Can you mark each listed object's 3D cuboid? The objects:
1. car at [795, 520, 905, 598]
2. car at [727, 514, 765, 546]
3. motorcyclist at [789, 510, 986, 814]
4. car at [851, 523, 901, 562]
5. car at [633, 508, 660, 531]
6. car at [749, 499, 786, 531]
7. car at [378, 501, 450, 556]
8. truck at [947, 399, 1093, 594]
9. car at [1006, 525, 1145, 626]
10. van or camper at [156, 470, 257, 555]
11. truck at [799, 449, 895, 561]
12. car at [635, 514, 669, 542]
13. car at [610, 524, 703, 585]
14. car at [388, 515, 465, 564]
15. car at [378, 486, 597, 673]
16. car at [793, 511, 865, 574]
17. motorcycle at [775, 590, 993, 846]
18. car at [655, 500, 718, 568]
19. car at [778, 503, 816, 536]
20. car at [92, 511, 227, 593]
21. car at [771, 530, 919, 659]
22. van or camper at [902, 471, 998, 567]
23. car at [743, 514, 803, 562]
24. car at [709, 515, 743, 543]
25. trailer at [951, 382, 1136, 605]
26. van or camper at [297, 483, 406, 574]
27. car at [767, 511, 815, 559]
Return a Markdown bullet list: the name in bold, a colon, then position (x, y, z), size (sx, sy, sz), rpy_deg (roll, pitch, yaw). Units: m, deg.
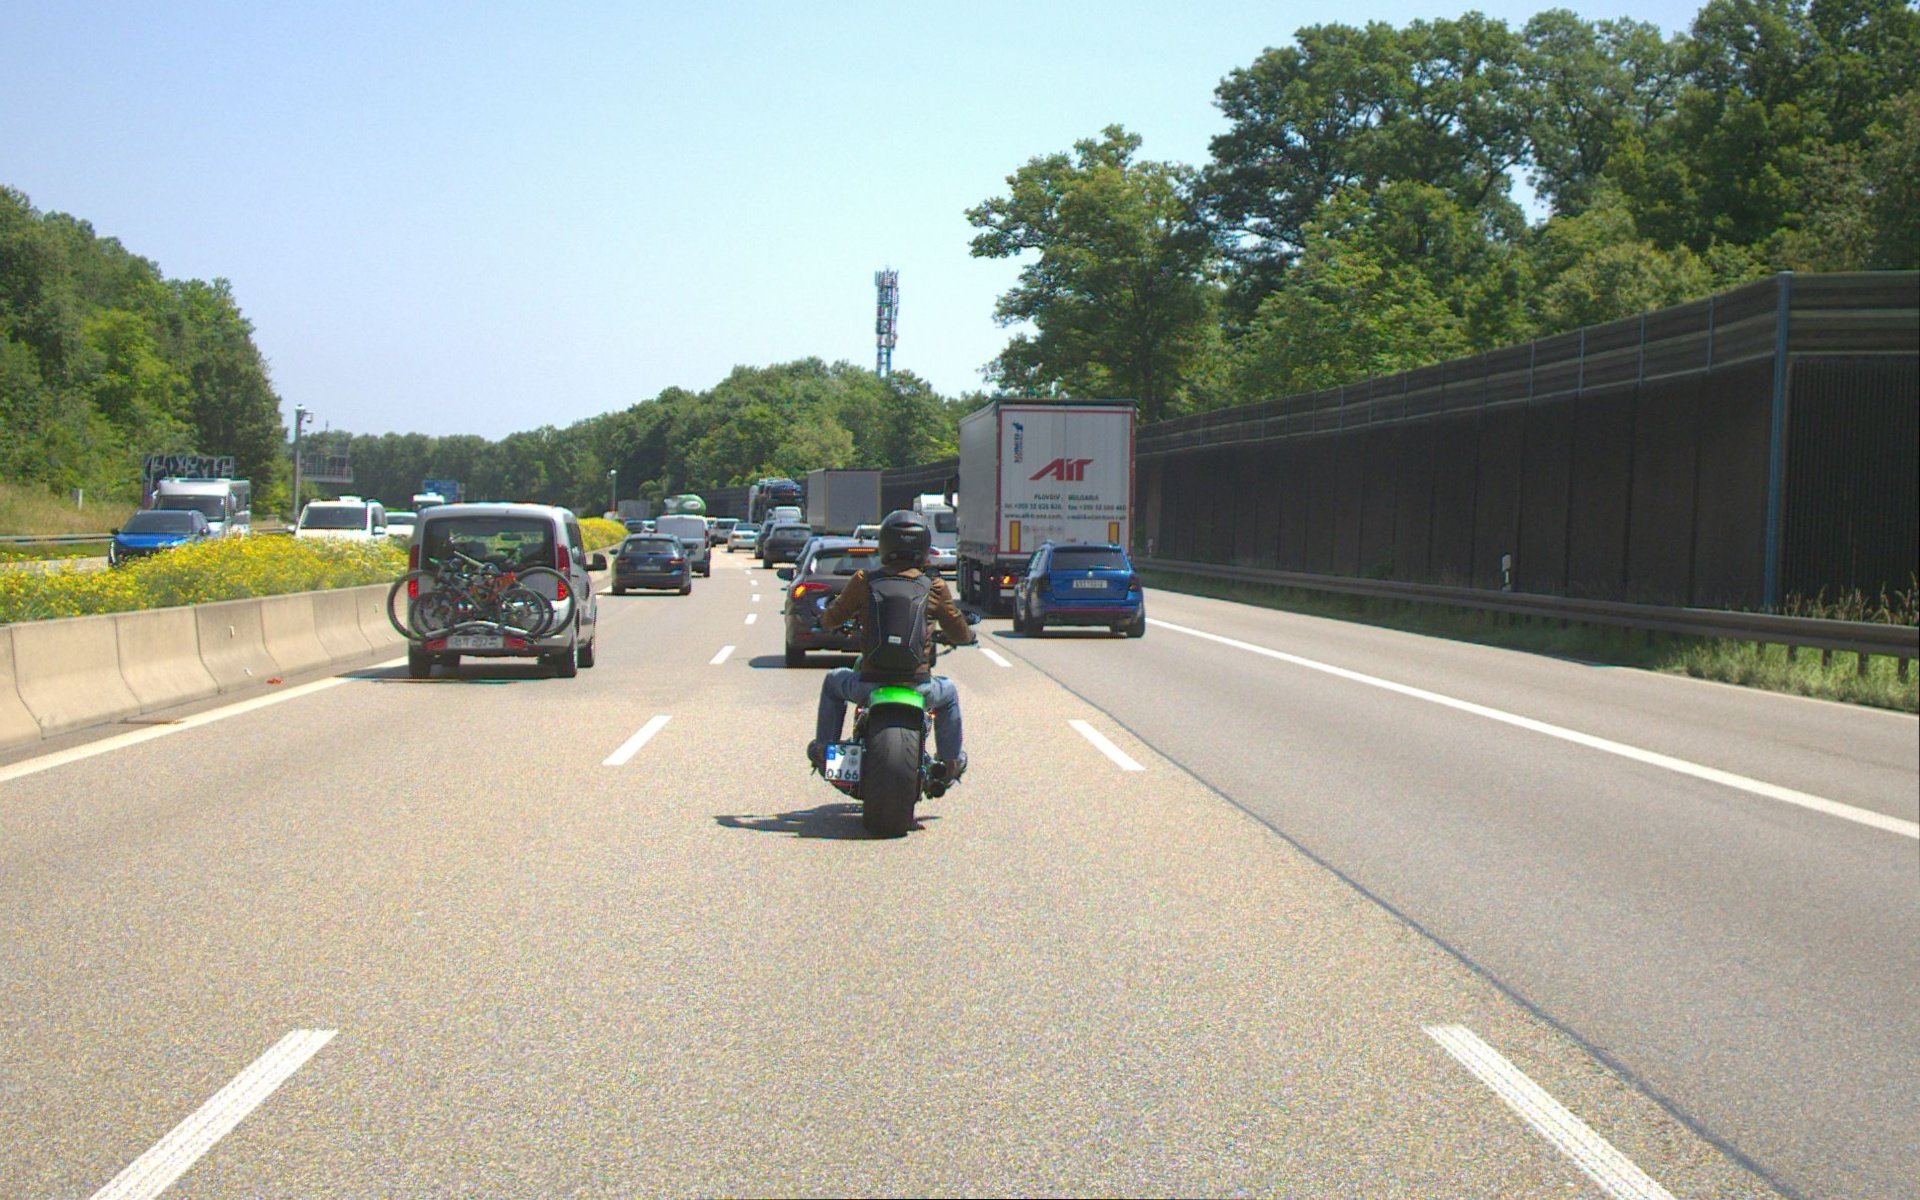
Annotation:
- **car**: position (-2.144, -0.774, 66.127), size (1.993, 1.425, 3.848), rpy_deg (1, 0, -3)
- **car**: position (-10.572, -3.458, 169.793), size (1.832, 1.491, 3.744), rpy_deg (1, 0, -3)
- **motorcyclist**: position (-0.347, 0.297, 17.655), size (0.899, 1.470, 1.872), rpy_deg (1, 0, 2)
- **car**: position (-3.558, -2.422, 145.168), size (1.993, 1.568, 4.000), rpy_deg (1, 0, -3)
- **car**: position (-22.256, -5.713, 244.038), size (1.832, 1.491, 3.744), rpy_deg (1, 0, -6)
- **car**: position (-11.834, -5.232, 211.531), size (2.107, 1.870, 4.001), rpy_deg (1, 0, -5)
- **car**: position (-20.794, -2.697, 131.068), size (1.993, 2.007, 4.568), rpy_deg (1, 0, 0)
- **truck**: position (1.262, -2.279, 76.317), size (2.885, 4.132, 5.987), rpy_deg (1, 1, -2)
- **car**: position (1.750, -0.380, 53.434), size (1.650, 1.477, 4.482), rpy_deg (1, 0, -5)
- **van or camper**: position (-23.934, -2.742, 109.404), size (2.186, 2.552, 6.933), rpy_deg (1, 0, -4)
- **truck**: position (-5.309, -4.351, 160.151), size (3.802, 4.943, 8.952), rpy_deg (1, 0, -6)
- **car**: position (-17.644, -4.115, 197.089), size (1.832, 1.491, 3.744), rpy_deg (1, 0, -3)
- **car**: position (-7.121, -1.046, 80.948), size (1.993, 1.382, 4.000), rpy_deg (1, 0, -3)
- **car**: position (-16.536, -1.880, 106.663), size (1.808, 1.481, 3.856), rpy_deg (1, 1, 0)
- **car**: position (-5.009, -0.218, 36.945), size (1.899, 1.867, 4.413), rpy_deg (1, 0, -2)
- **car**: position (-3.331, -1.454, 88.004), size (1.779, 1.547, 3.585), rpy_deg (1, 0, -2)
- **motorcycle**: position (-0.351, 0.560, 17.855), size (0.964, 1.144, 2.811), rpy_deg (1, 1, 2)
- **car**: position (-8.320, -2.004, 104.811), size (1.791, 2.007, 3.642), rpy_deg (1, 0, -3)
- **car**: position (-9.778, -4.822, 206.034), size (2.107, 1.870, 4.001), rpy_deg (1, 0, -5)
- **car**: position (-17.038, -1.004, 73.343), size (1.993, 1.685, 4.401), rpy_deg (1, 0, -2)
- **car**: position (-1.386, -0.070, 40.880), size (1.662, 1.448, 3.869), rpy_deg (1, 0, -2)
- **van or camper**: position (-0.347, -2.428, 105.417), size (2.685, 2.803, 6.803), rpy_deg (1, 0, -2)
- **car**: position (-6.616, -2.194, 121.792), size (1.993, 1.634, 4.000), rpy_deg (1, 0, -1)
- **car**: position (-13.325, -4.047, 195.956), size (1.832, 1.491, 3.744), rpy_deg (1, 0, -3)
- **trailer**: position (1.502, -2.096, 69.485), size (2.885, 4.024, 13.797), rpy_deg (1, 1, -2)
- **van or camper**: position (-14.007, -1.622, 79.361), size (1.882, 2.007, 4.588), rpy_deg (1, 0, -3)
- **car**: position (-7.249, -2.788, 147.601), size (1.911, 2.007, 3.691), rpy_deg (1, 0, -5)
